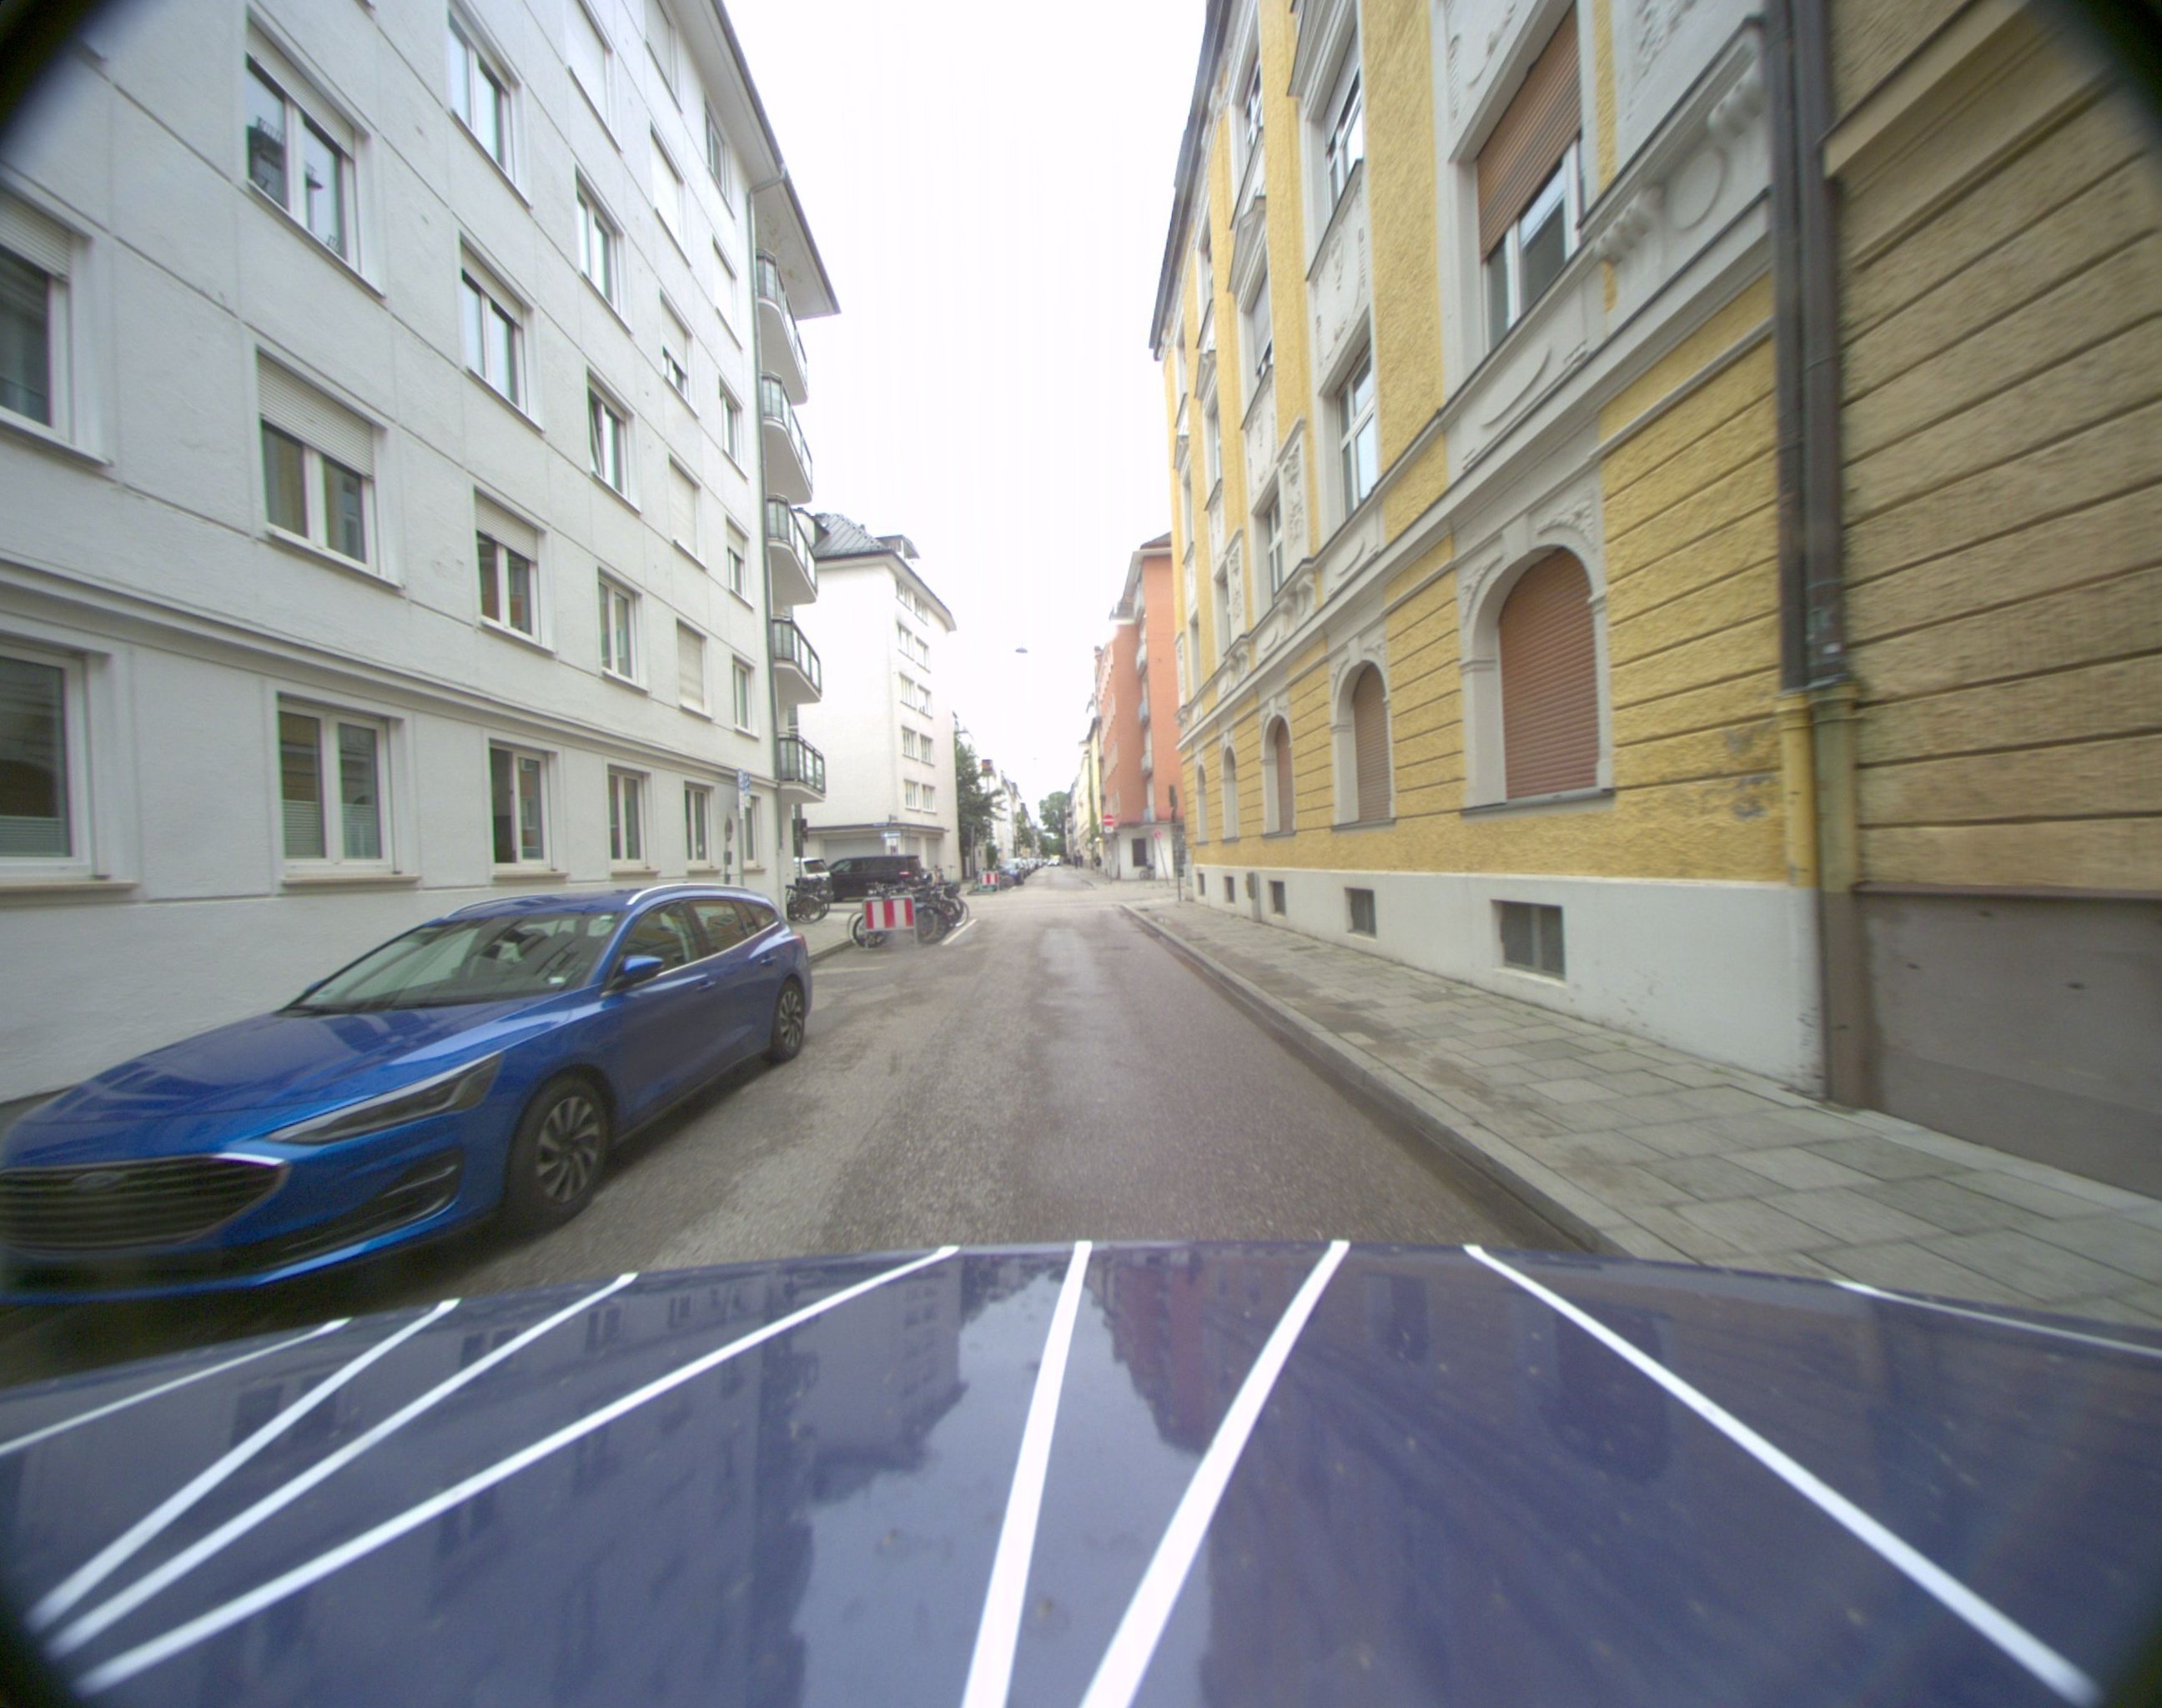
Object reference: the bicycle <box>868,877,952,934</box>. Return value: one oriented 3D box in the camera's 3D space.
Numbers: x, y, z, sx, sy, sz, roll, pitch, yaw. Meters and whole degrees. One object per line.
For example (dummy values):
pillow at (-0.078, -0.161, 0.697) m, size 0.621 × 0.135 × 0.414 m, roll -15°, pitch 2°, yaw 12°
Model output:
bicycle at (-3.738, 1.128, 16.694) m, size 1.700 × 1.154 × 0.378 m, roll -2°, pitch 1°, yaw -3°

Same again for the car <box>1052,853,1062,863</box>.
car at (-5.223, 0.906, 163.942) m, size 1.999 × 2.002 × 4.645 m, roll -3°, pitch 0°, yaw -2°

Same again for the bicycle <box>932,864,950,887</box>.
bicycle at (-7.635, 1.164, 41.479) m, size 0.528 × 1.207 × 1.610 m, roll -2°, pitch 0°, yaw 6°

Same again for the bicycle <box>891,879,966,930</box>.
bicycle at (-3.713, 1.224, 18.555) m, size 1.700 × 1.154 × 0.378 m, roll -2°, pitch 1°, yaw -3°

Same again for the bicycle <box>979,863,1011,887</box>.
bicycle at (-4.559, 1.103, 40.231) m, size 1.608 × 1.207 × 0.529 m, roll -2°, pitch 1°, yaw 1°

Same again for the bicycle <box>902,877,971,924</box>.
bicycle at (-3.805, 1.222, 20.054) m, size 1.700 × 1.154 × 0.418 m, roll -2°, pitch 1°, yaw -3°

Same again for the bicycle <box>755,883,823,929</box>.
bicycle at (-7.037, 1.246, 18.324) m, size 1.503 × 1.037 × 0.398 m, roll -1°, pitch 1°, yaw -20°

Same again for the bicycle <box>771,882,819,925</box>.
bicycle at (-7.339, 1.267, 19.518) m, size 1.129 × 1.037 × 0.398 m, roll -1°, pitch 1°, yaw -20°

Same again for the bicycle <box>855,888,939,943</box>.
bicycle at (-3.637, 1.211, 15.026) m, size 1.590 × 1.037 × 0.323 m, roll 0°, pitch 1°, yaw 7°

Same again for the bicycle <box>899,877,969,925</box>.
bicycle at (-3.804, 1.206, 19.648) m, size 1.700 × 1.154 × 0.313 m, roll -2°, pitch 1°, yaw -3°

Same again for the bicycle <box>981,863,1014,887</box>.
bicycle at (-4.337, 1.099, 39.675) m, size 1.608 × 1.207 × 0.529 m, roll -2°, pitch 1°, yaw 1°

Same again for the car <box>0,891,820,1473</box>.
car at (-3.203, 1.102, 4.421) m, size 1.799 × 1.430 × 4.382 m, roll -4°, pitch 0°, yaw -1°

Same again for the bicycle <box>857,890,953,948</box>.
bicycle at (-3.277, 1.203, 14.210) m, size 1.707 × 1.037 × 0.360 m, roll 0°, pitch 1°, yaw -1°

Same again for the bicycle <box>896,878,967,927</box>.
bicycle at (-3.784, 1.227, 19.319) m, size 1.700 × 1.154 × 0.313 m, roll -2°, pitch 1°, yaw -3°

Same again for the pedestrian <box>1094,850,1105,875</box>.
pedestrian at (1.262, 0.566, 51.579) m, size 0.613 × 1.684 × 0.565 m, roll -2°, pitch 1°, yaw -3°

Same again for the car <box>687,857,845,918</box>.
car at (-10.818, 1.126, 26.260) m, size 4.615 × 1.862 × 1.934 m, roll -2°, pitch 0°, yaw 6°

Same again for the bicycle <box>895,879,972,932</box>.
bicycle at (-3.474, 1.212, 17.990) m, size 1.700 × 1.154 × 0.378 m, roll -2°, pitch 1°, yaw -3°

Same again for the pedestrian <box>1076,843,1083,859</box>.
pedestrian at (-0.184, -0.309, 83.135) m, size 0.726 × 1.783 × 0.829 m, roll -2°, pitch 1°, yaw -2°

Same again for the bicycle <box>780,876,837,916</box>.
bicycle at (-8.485, 1.291, 23.654) m, size 1.607 × 1.207 × 0.472 m, roll 0°, pitch 1°, yaw 7°

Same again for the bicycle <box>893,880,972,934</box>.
bicycle at (-3.422, 1.213, 17.593) m, size 1.700 × 1.154 × 0.378 m, roll -2°, pitch 1°, yaw -3°

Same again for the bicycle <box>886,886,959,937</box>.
bicycle at (-3.315, 1.199, 15.926) m, size 1.441 × 1.037 × 0.360 m, roll 0°, pitch 1°, yaw 6°

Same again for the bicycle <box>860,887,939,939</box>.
bicycle at (-3.713, 1.208, 15.575) m, size 1.520 × 1.037 × 0.360 m, roll 0°, pitch 1°, yaw 6°

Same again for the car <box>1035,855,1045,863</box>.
car at (-7.387, 0.854, 138.618) m, size 1.654 × 1.390 × 3.999 m, roll -2°, pitch 0°, yaw -2°

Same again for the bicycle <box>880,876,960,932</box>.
bicycle at (-3.607, 1.116, 17.110) m, size 1.667 × 1.154 × 0.378 m, roll -2°, pitch 1°, yaw -3°

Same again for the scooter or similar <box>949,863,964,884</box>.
scooter or similar at (-7.305, 1.119, 44.547) m, size 0.407 × 1.160 × 1.494 m, roll -2°, pitch 0°, yaw 6°

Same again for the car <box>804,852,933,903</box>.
car at (-8.768, 0.972, 31.555) m, size 4.677 × 1.880 × 1.935 m, roll -2°, pitch 0°, yaw 6°

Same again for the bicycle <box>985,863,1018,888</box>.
bicycle at (-4.085, 1.094, 39.112) m, size 1.608 × 1.207 × 0.529 m, roll -2°, pitch 1°, yaw 1°

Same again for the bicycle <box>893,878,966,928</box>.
bicycle at (-3.764, 1.223, 18.951) m, size 1.700 × 1.154 × 0.378 m, roll -2°, pitch 1°, yaw -3°

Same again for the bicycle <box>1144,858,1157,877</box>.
bicycle at (3.694, 0.714, 40.302) m, size 0.472 × 0.923 × 1.513 m, roll -2°, pitch 0°, yaw -1°

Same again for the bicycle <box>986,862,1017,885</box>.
bicycle at (-4.442, 1.081, 42.652) m, size 1.608 × 1.207 × 0.529 m, roll -2°, pitch 1°, yaw 1°

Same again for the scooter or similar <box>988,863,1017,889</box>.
scooter or similar at (-3.882, 1.095, 37.692) m, size 1.341 × 1.207 × 0.344 m, roll -2°, pitch 1°, yaw 1°

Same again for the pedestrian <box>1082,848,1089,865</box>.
pedestrian at (0.476, 0.257, 83.210) m, size 0.699 × 1.783 × 0.763 m, roll -2°, pitch 1°, yaw -1°

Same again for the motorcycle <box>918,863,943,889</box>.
motorcycle at (-7.804, 1.124, 39.406) m, size 0.660 × 1.225 × 1.937 m, roll -2°, pitch 0°, yaw 6°

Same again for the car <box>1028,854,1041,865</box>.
car at (-6.317, 0.728, 104.002) m, size 1.654 × 1.390 × 3.999 m, roll -2°, pitch 0°, yaw -2°

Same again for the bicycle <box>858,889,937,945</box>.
bicycle at (-3.540, 1.209, 14.667) m, size 1.439 × 1.037 × 0.330 m, roll 0°, pitch 1°, yaw 6°

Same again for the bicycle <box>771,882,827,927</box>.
bicycle at (-7.014, 1.244, 18.921) m, size 1.297 × 1.037 × 0.398 m, roll -1°, pitch 1°, yaw -20°

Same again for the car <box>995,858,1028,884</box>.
car at (-4.104, 0.988, 45.511) m, size 1.654 × 1.390 × 3.999 m, roll -2°, pitch 0°, yaw -2°

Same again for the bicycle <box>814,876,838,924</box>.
bicycle at (-6.779, 1.199, 20.182) m, size 0.399 × 1.197 × 1.502 m, roll -1°, pitch 1°, yaw -27°

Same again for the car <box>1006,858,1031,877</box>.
car at (-4.935, 1.021, 60.345) m, size 1.654 × 1.390 × 3.999 m, roll -2°, pitch 0°, yaw -2°
